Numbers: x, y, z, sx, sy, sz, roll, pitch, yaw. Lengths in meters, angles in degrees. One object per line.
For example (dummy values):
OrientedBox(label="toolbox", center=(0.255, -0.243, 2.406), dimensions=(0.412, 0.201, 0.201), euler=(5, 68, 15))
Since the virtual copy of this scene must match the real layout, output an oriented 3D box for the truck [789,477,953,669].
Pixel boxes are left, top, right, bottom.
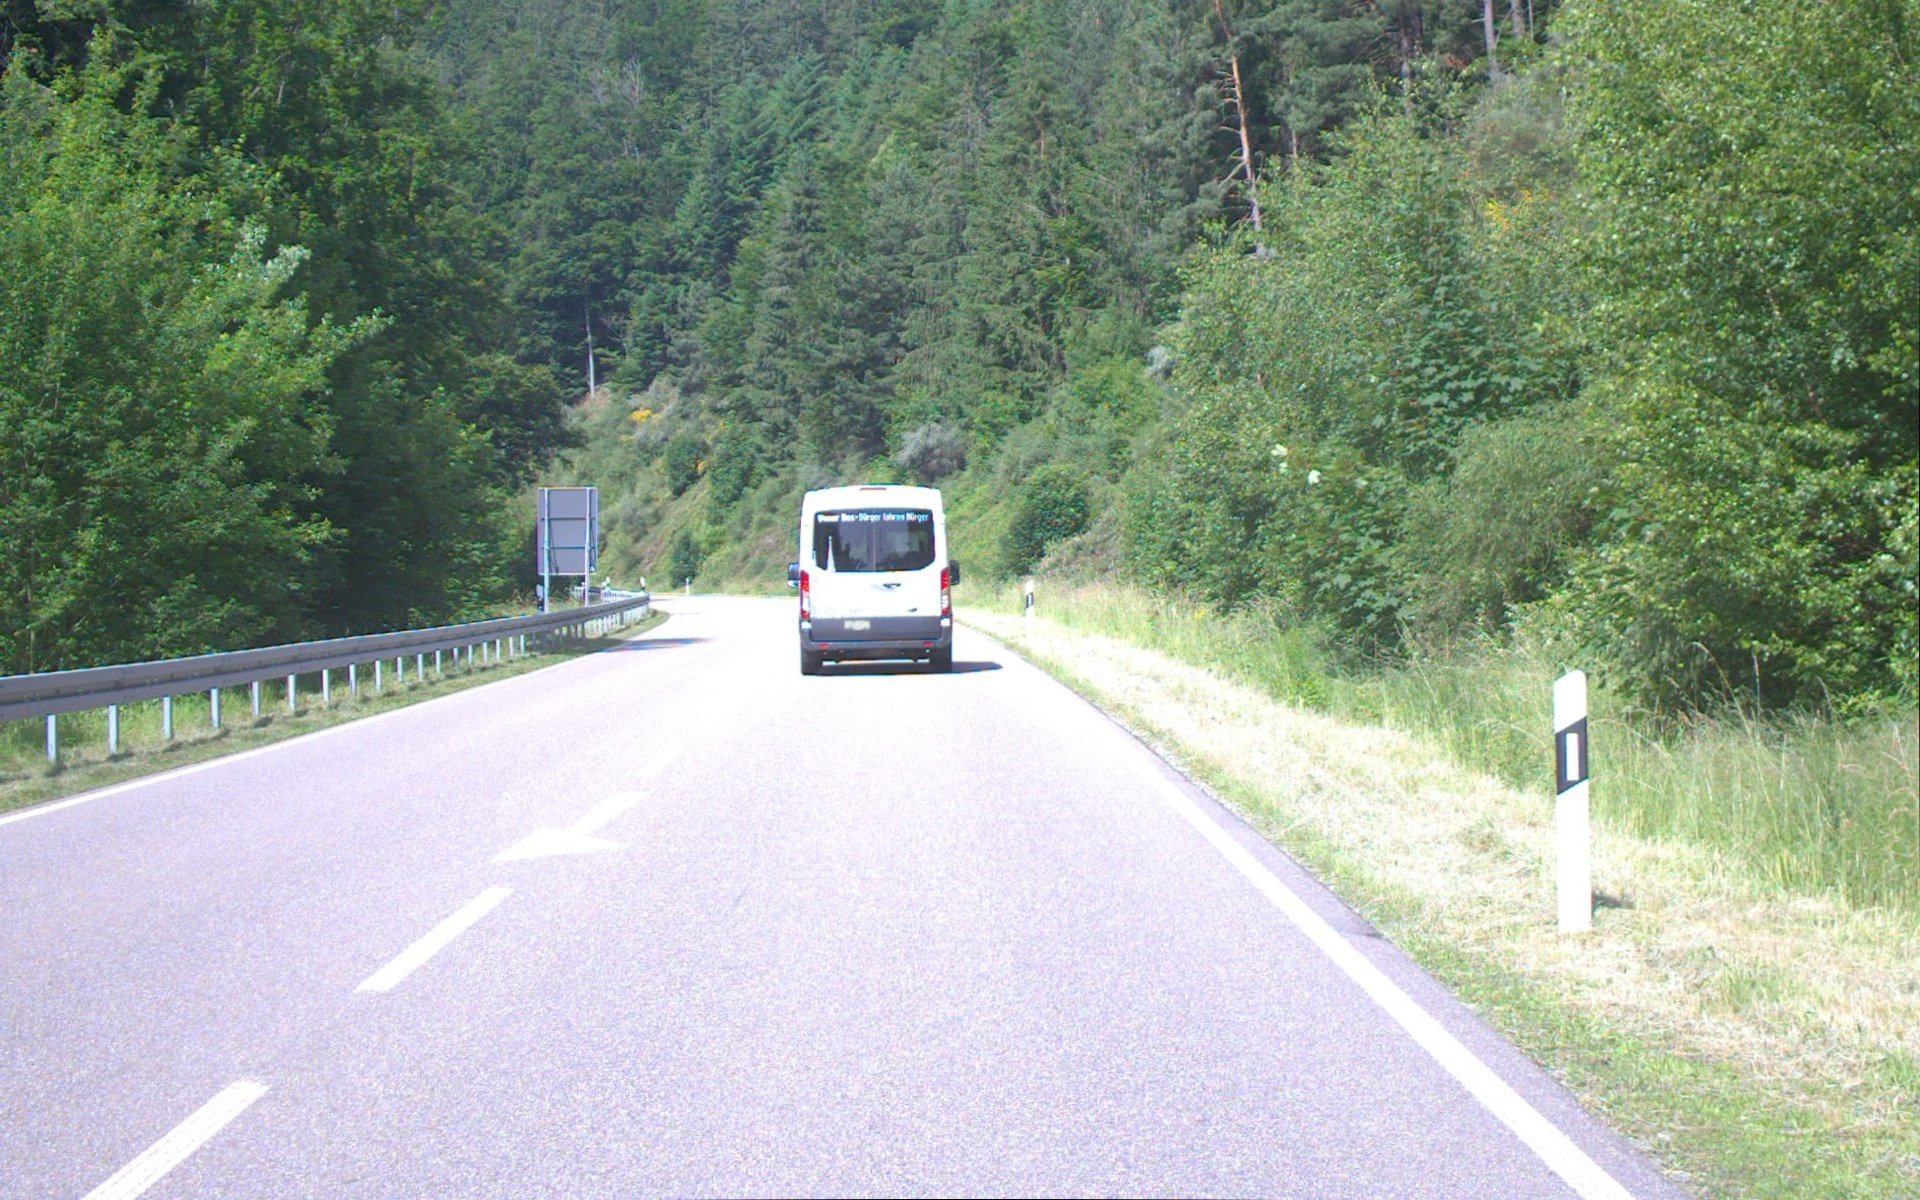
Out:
OrientedBox(label="truck", center=(-1.143, -0.367, 46.572), dimensions=(2.083, 2.451, 4.875), euler=(0, 1, 0))
